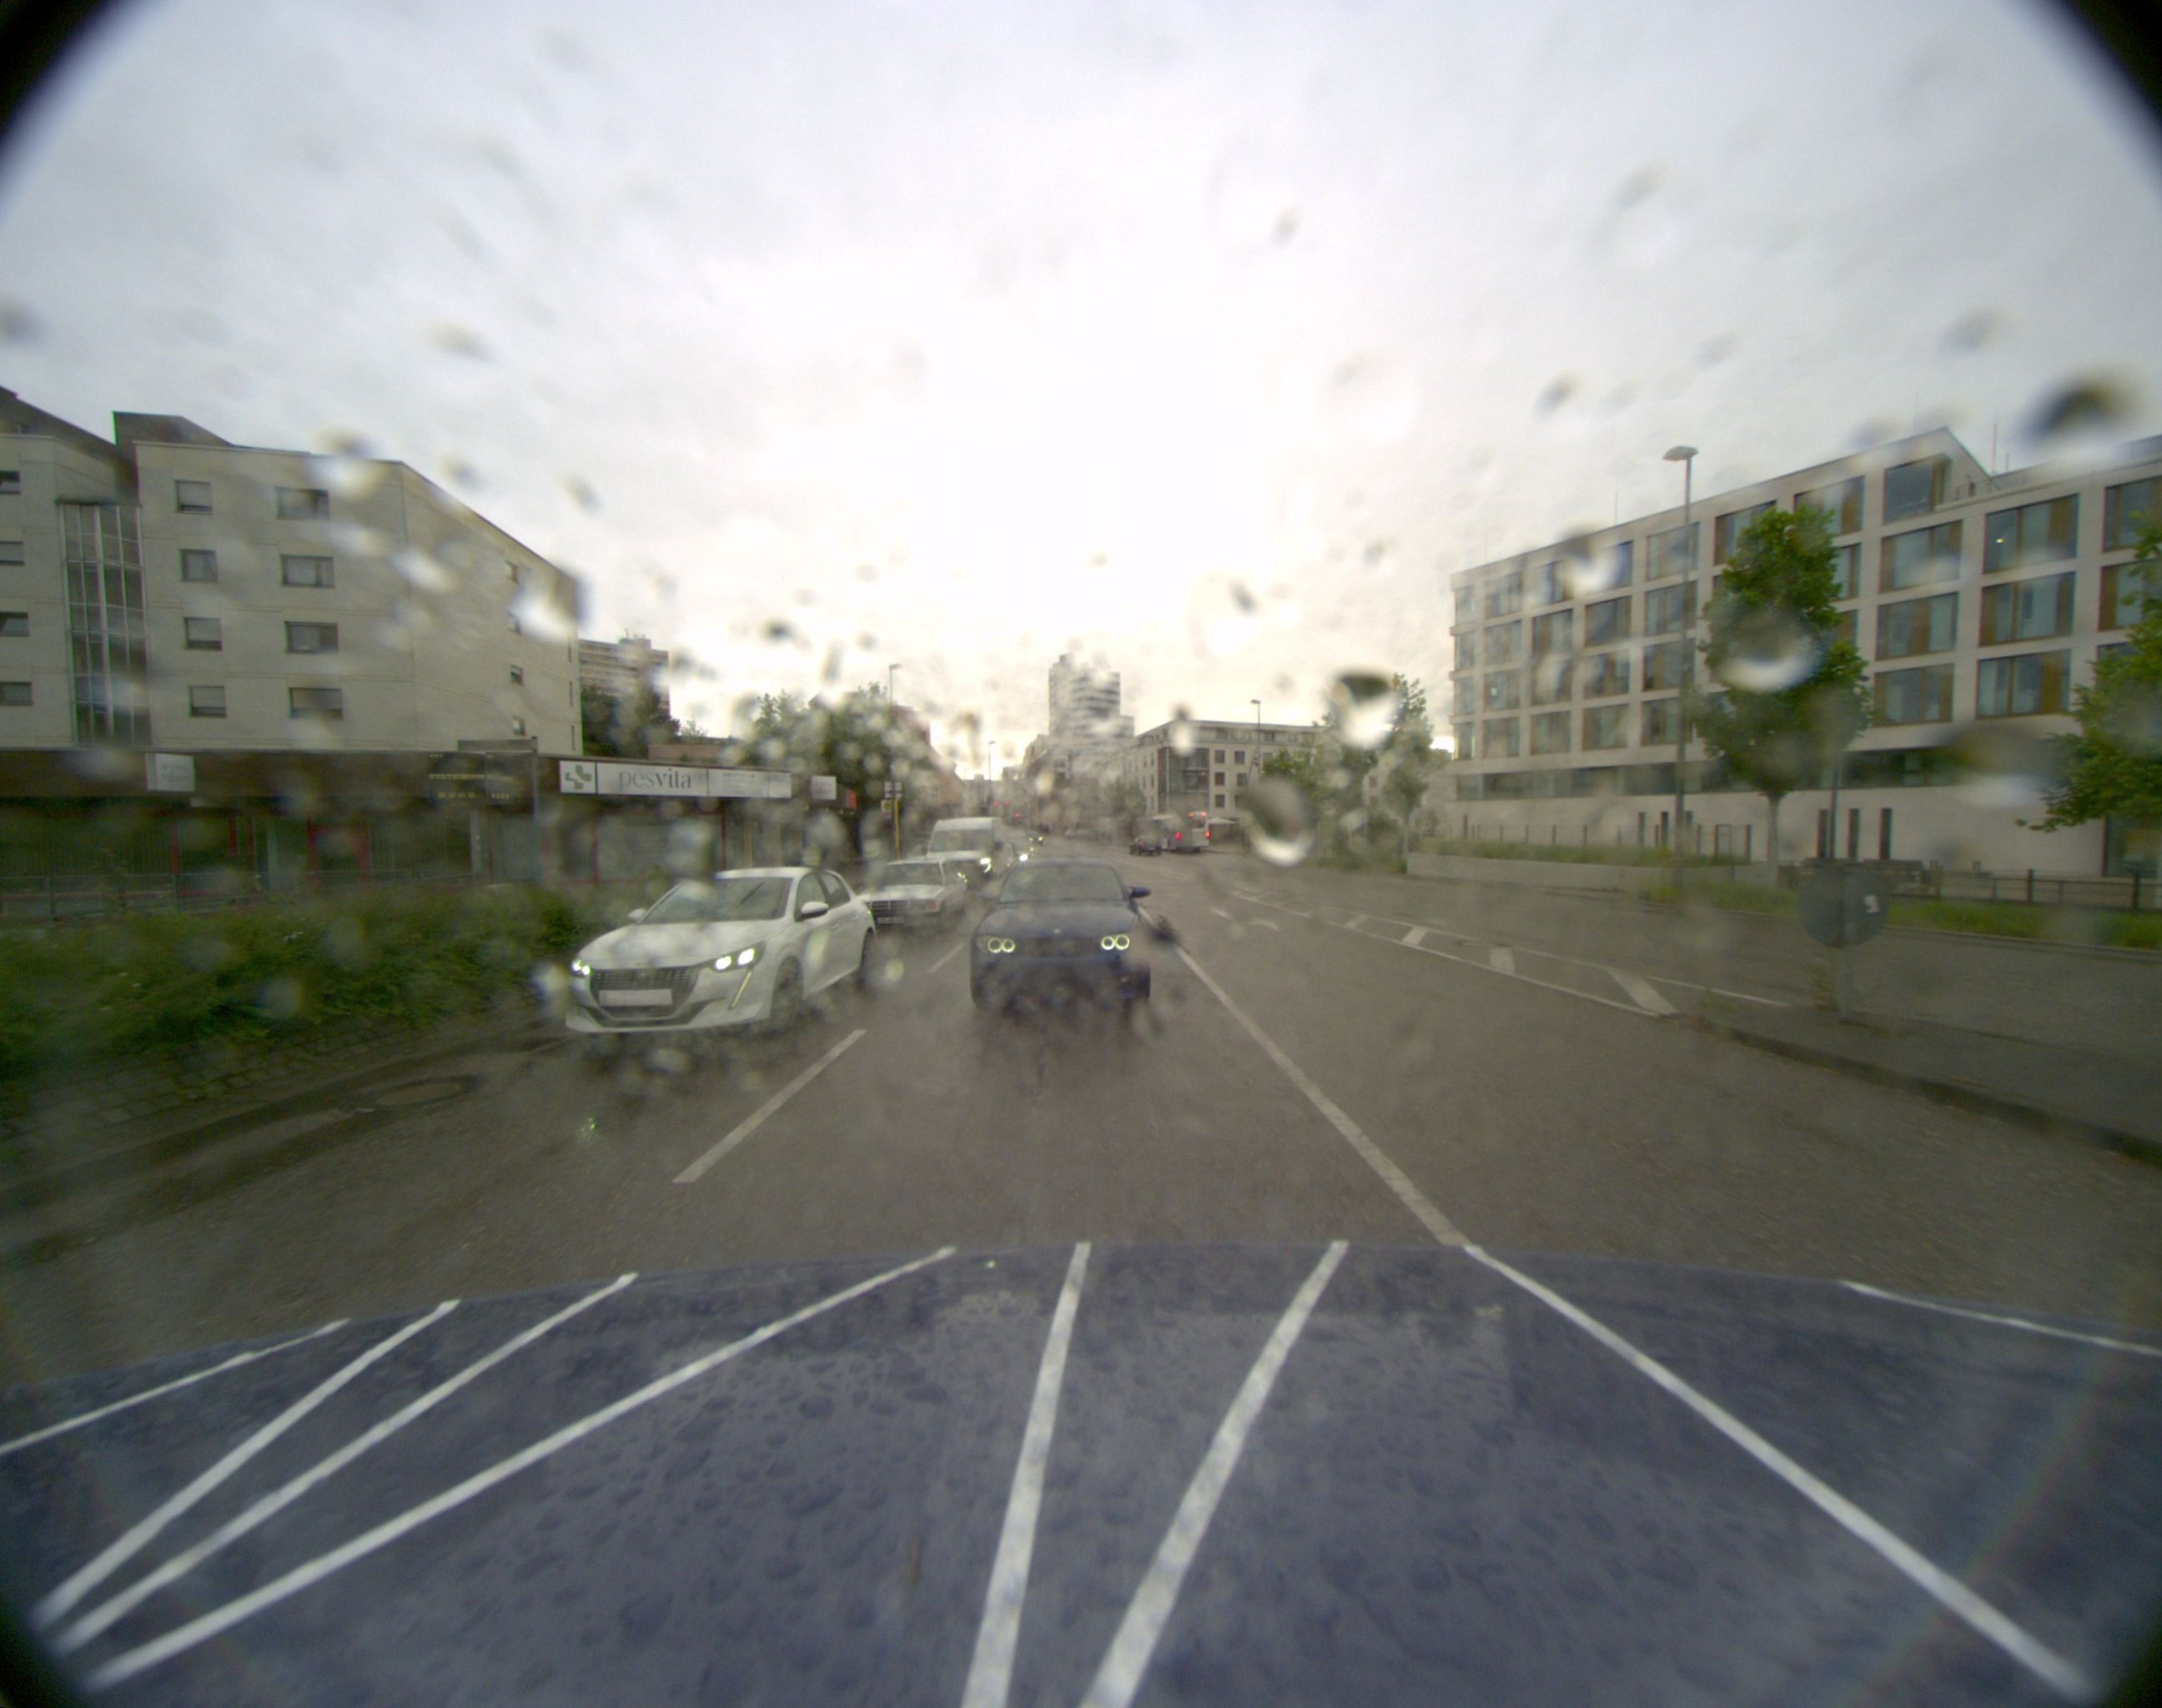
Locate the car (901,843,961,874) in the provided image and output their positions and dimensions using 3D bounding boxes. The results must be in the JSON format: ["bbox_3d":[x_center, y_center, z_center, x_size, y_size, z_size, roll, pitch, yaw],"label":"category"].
[{"bbox_3d":[-7.017,0.173,35.897,1.998,1.343,3.803,1,1,0],"label":"car"}]

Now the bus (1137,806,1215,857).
[{"bbox_3d":[8.014,-1.894,67.789,2.952,3.972,18.216,1,1,-6],"label":"bus"}]

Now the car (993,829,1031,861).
[{"bbox_3d":[-4.437,-0.595,49.553,1.998,2.002,3.999,1,1,1],"label":"car"}]

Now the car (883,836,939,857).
[{"bbox_3d":[-12.823,-0.601,57.544,4.000,1.412,1.998,-2,1,-9],"label":"car"}]

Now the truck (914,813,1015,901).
[{"bbox_3d":[-3.525,0.030,24.409,2.169,2.425,6.199,-1,1,1],"label":"truck"}]

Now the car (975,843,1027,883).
[{"bbox_3d":[-3.371,0.345,32.646,1.643,1.477,3.676,-6,1,1],"label":"car"}]

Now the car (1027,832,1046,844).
[{"bbox_3d":[-5.122,-1.825,87.280,1.719,1.369,3.731,-3,1,-10],"label":"car"}]

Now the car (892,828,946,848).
[{"bbox_3d":[-12.769,-1.238,60.039,4.000,1.412,1.701,-2,1,-9],"label":"car"}]

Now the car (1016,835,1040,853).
[{"bbox_3d":[-4.808,-0.866,69.731,1.999,1.543,3.999,-1,0,-2],"label":"car"}]

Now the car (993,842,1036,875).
[{"bbox_3d":[-3.407,0.234,39.684,1.999,1.543,3.999,-1,0,-2],"label":"car"}]

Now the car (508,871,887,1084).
[{"bbox_3d":[-3.411,0.983,7.759,1.718,1.389,4.035,-2,1,1],"label":"car"}]

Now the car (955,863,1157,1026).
[{"bbox_3d":[-0.208,0.840,8.720,1.787,1.335,3.704,-1,1,1],"label":"car"}]

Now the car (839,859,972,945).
[{"bbox_3d":[-3.353,0.859,15.247,1.718,1.369,3.734,-2,1,1],"label":"car"}]

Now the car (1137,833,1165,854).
[{"bbox_3d":[5.351,-0.865,58.378,1.818,1.420,3.941,-2,2,2],"label":"car"}]
